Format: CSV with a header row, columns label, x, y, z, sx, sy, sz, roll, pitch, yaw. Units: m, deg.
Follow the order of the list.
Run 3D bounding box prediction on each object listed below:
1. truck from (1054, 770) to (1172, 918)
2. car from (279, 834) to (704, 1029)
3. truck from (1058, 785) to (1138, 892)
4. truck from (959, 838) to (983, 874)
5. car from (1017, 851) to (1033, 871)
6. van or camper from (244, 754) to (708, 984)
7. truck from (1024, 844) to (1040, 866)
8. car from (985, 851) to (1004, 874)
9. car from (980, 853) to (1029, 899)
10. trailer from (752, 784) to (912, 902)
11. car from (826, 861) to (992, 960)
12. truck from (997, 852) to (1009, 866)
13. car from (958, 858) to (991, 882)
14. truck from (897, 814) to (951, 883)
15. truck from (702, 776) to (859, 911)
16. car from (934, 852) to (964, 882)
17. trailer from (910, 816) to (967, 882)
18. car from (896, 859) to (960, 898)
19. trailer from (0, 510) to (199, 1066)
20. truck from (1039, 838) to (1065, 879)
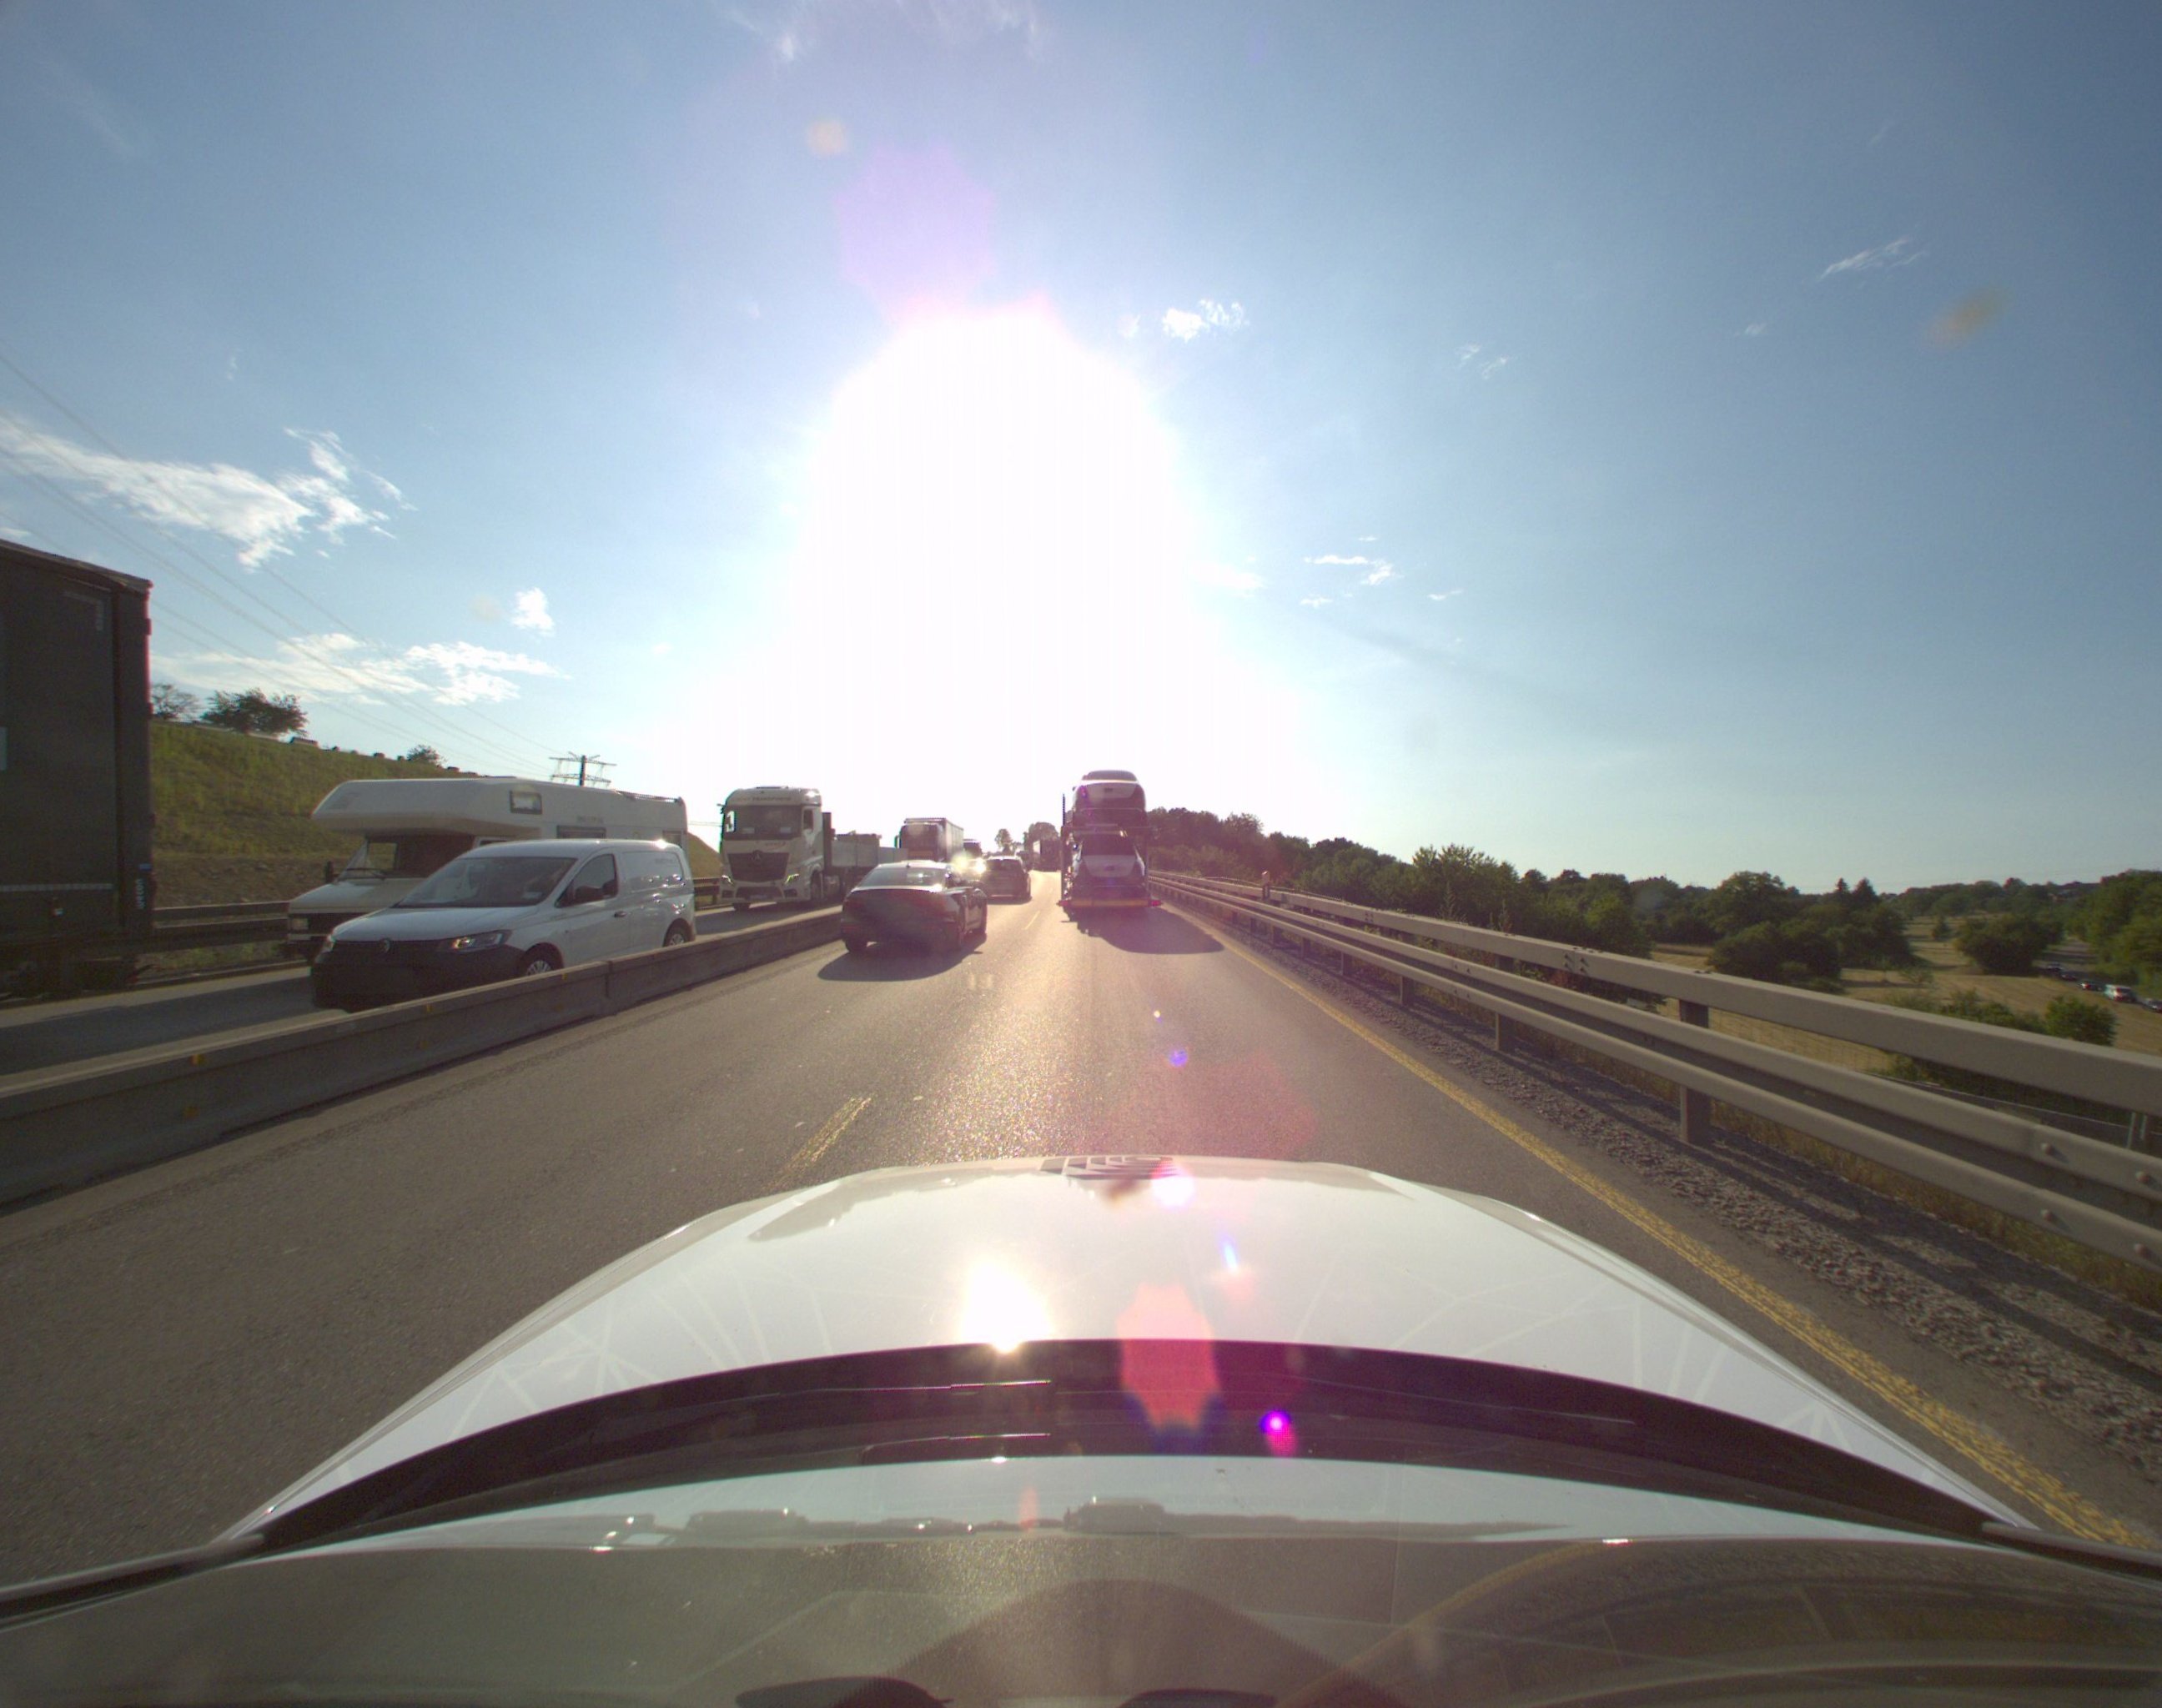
label,x,y,z,sx,sy,sz,roll,pitch,yaw
truck,0.691,-0.198,24.812,2.791,3.497,10.600,-1,-1,-1
car,-6.229,0.700,9.418,1.752,1.695,4.450,-1,-1,-2
truck,0.527,-0.507,34.252,2.830,3.792,9.980,-1,-1,-1
truck,-12.928,0.293,96.337,2.499,4.066,5.873,-1,-1,-5
car,-7.109,0.929,104.160,1.916,2.492,5.402,-1,-1,-3
van or camper,-9.454,0.220,14.185,2.400,2.891,7.616,-1,-1,0
truck,-8.381,0.253,139.905,2.525,3.648,8.894,-1,-1,-3
car,-10.084,0.991,95.413,2.053,2.500,6.764,-1,-1,-5
car,-2.826,0.793,30.621,1.688,1.596,3.995,-1,-1,-4
trailer,-9.368,-0.277,32.937,2.513,3.725,13.968,-1,-1,-2
car,-2.830,0.862,14.616,1.928,1.399,4.960,-1,0,0
truck,-18.108,1.237,189.010,2.586,3.170,6.666,-1,-1,-4
car,-6.971,1.034,53.743,1.754,1.508,4.251,-1,-1,-2
truck,-9.728,-0.301,50.984,2.497,4.066,5.659,-1,-1,-3
truck,-9.299,-0.264,26.049,2.593,3.754,6.515,-1,-1,0
car,-11.527,1.113,71.654,2.154,2.558,5.579,-1,-1,-5
trailer,-10.021,-0.225,58.667,2.302,4.130,14.582,-1,-1,-3
car,-6.257,0.968,33.747,1.788,1.511,4.584,-1,-1,-1
trailer,-9.397,-0.514,3.213,2.434,4.189,8.544,-1,-1,1
truck,-4.048,0.630,110.080,3.279,5.237,9.923,-1,-1,-3
